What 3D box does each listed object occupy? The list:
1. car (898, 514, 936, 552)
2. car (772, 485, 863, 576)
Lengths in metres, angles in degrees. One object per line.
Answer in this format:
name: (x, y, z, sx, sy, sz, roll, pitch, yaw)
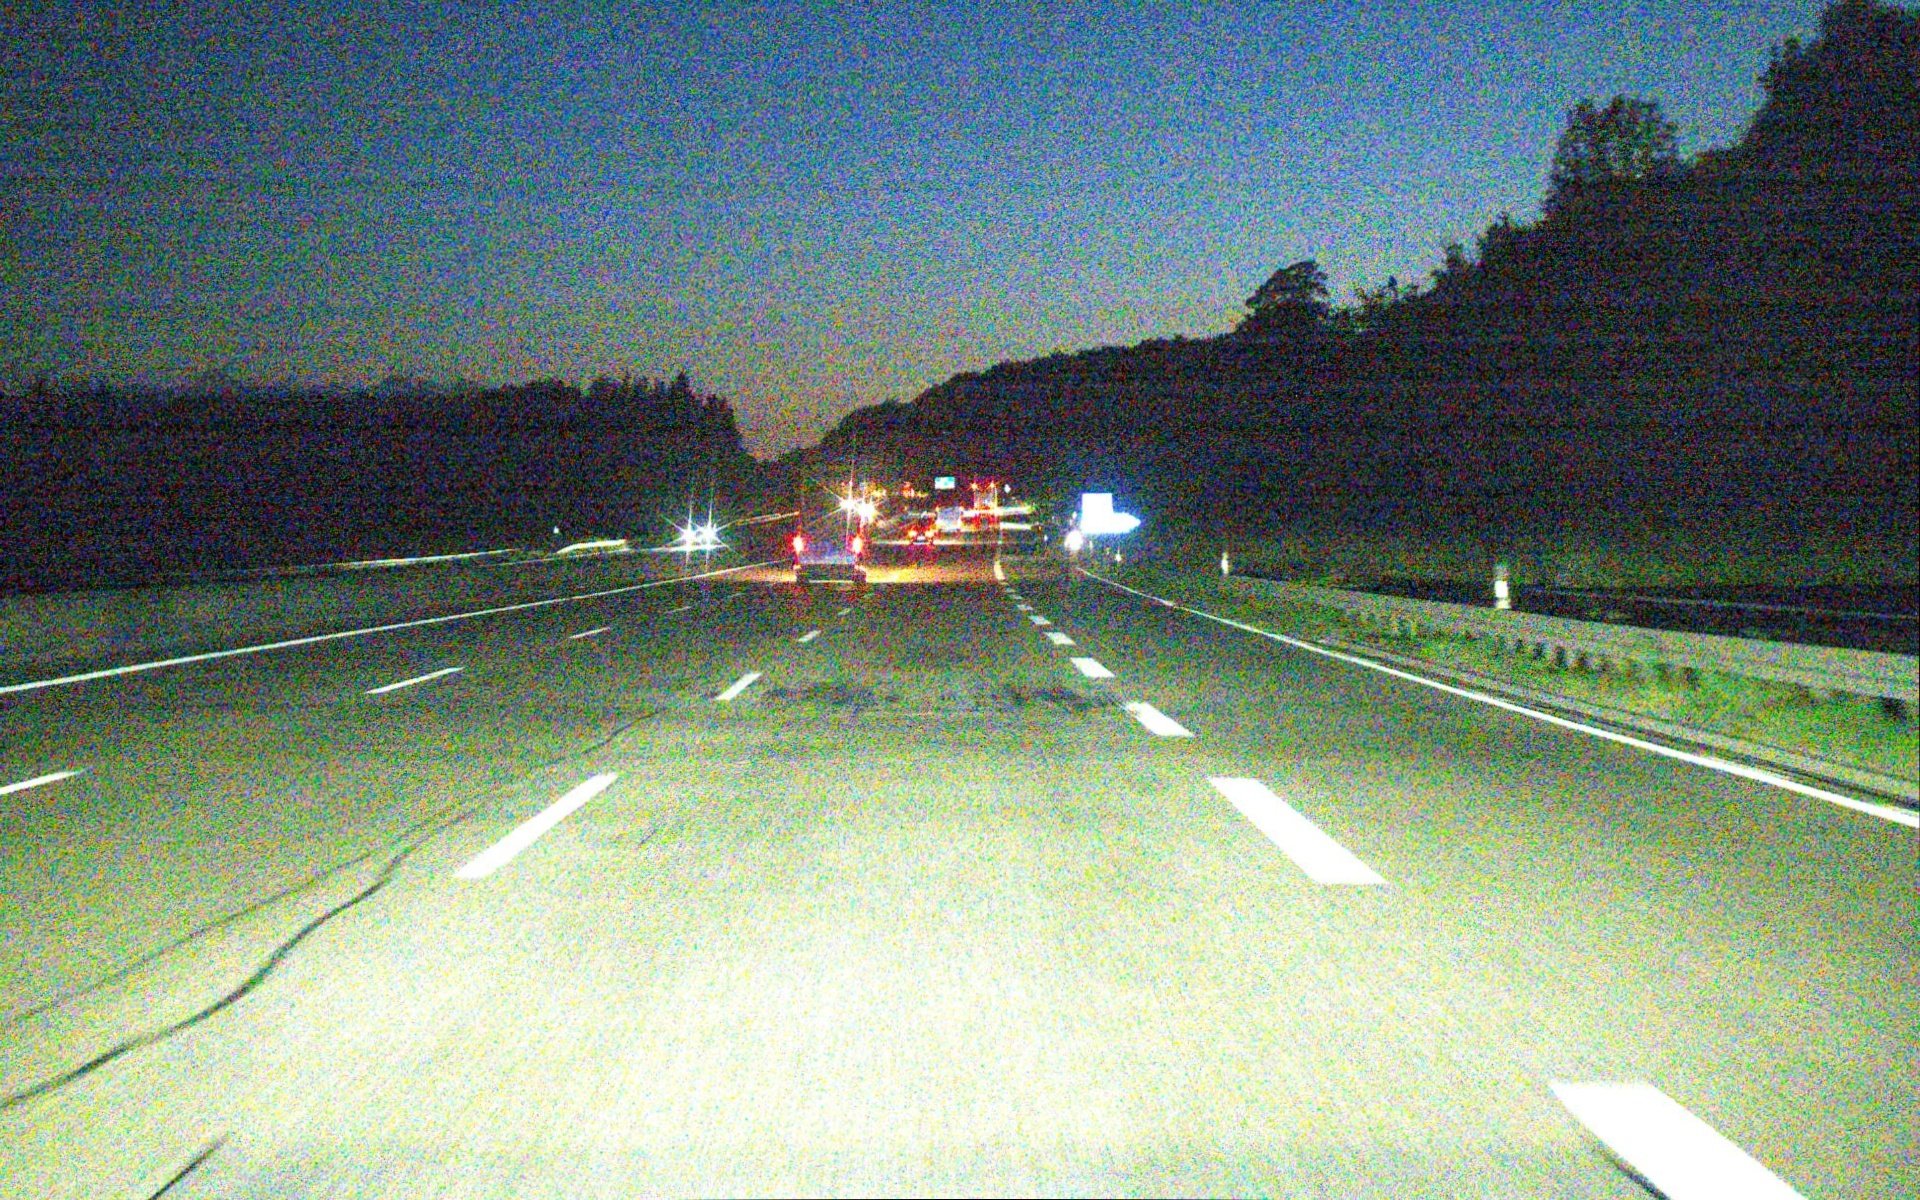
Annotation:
car: (-3.213, -5.006, 258.079, 2.786, 2.724, 6.299, 0, 0, -1)
car: (-4.497, -2.125, 107.770, 2.786, 2.724, 6.300, 0, 0, -3)
